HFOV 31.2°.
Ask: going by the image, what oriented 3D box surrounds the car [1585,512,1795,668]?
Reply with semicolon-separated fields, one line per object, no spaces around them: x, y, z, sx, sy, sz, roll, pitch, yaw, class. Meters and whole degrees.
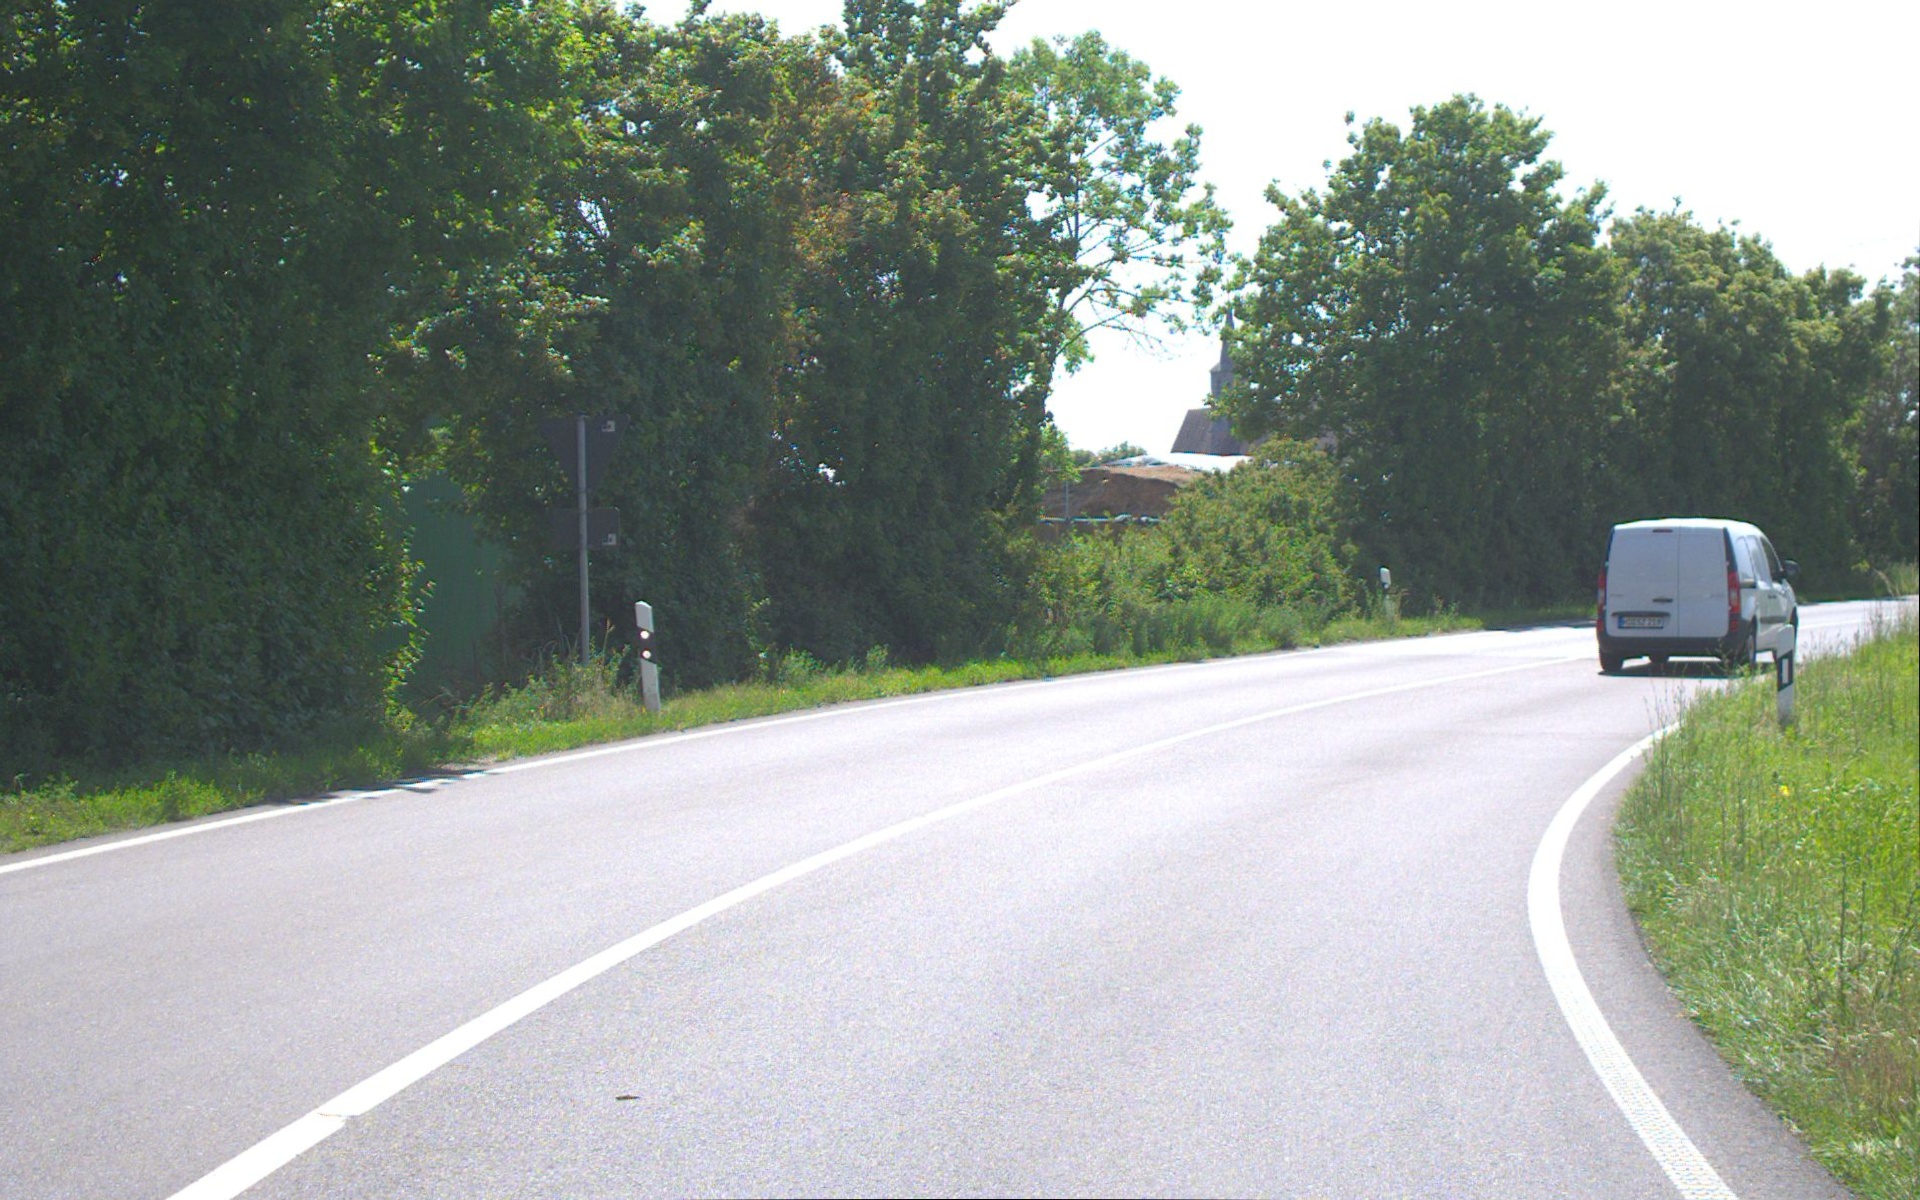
8.708;-0.129;40.796;1.905;1.726;3.818;-1;0;20;car
